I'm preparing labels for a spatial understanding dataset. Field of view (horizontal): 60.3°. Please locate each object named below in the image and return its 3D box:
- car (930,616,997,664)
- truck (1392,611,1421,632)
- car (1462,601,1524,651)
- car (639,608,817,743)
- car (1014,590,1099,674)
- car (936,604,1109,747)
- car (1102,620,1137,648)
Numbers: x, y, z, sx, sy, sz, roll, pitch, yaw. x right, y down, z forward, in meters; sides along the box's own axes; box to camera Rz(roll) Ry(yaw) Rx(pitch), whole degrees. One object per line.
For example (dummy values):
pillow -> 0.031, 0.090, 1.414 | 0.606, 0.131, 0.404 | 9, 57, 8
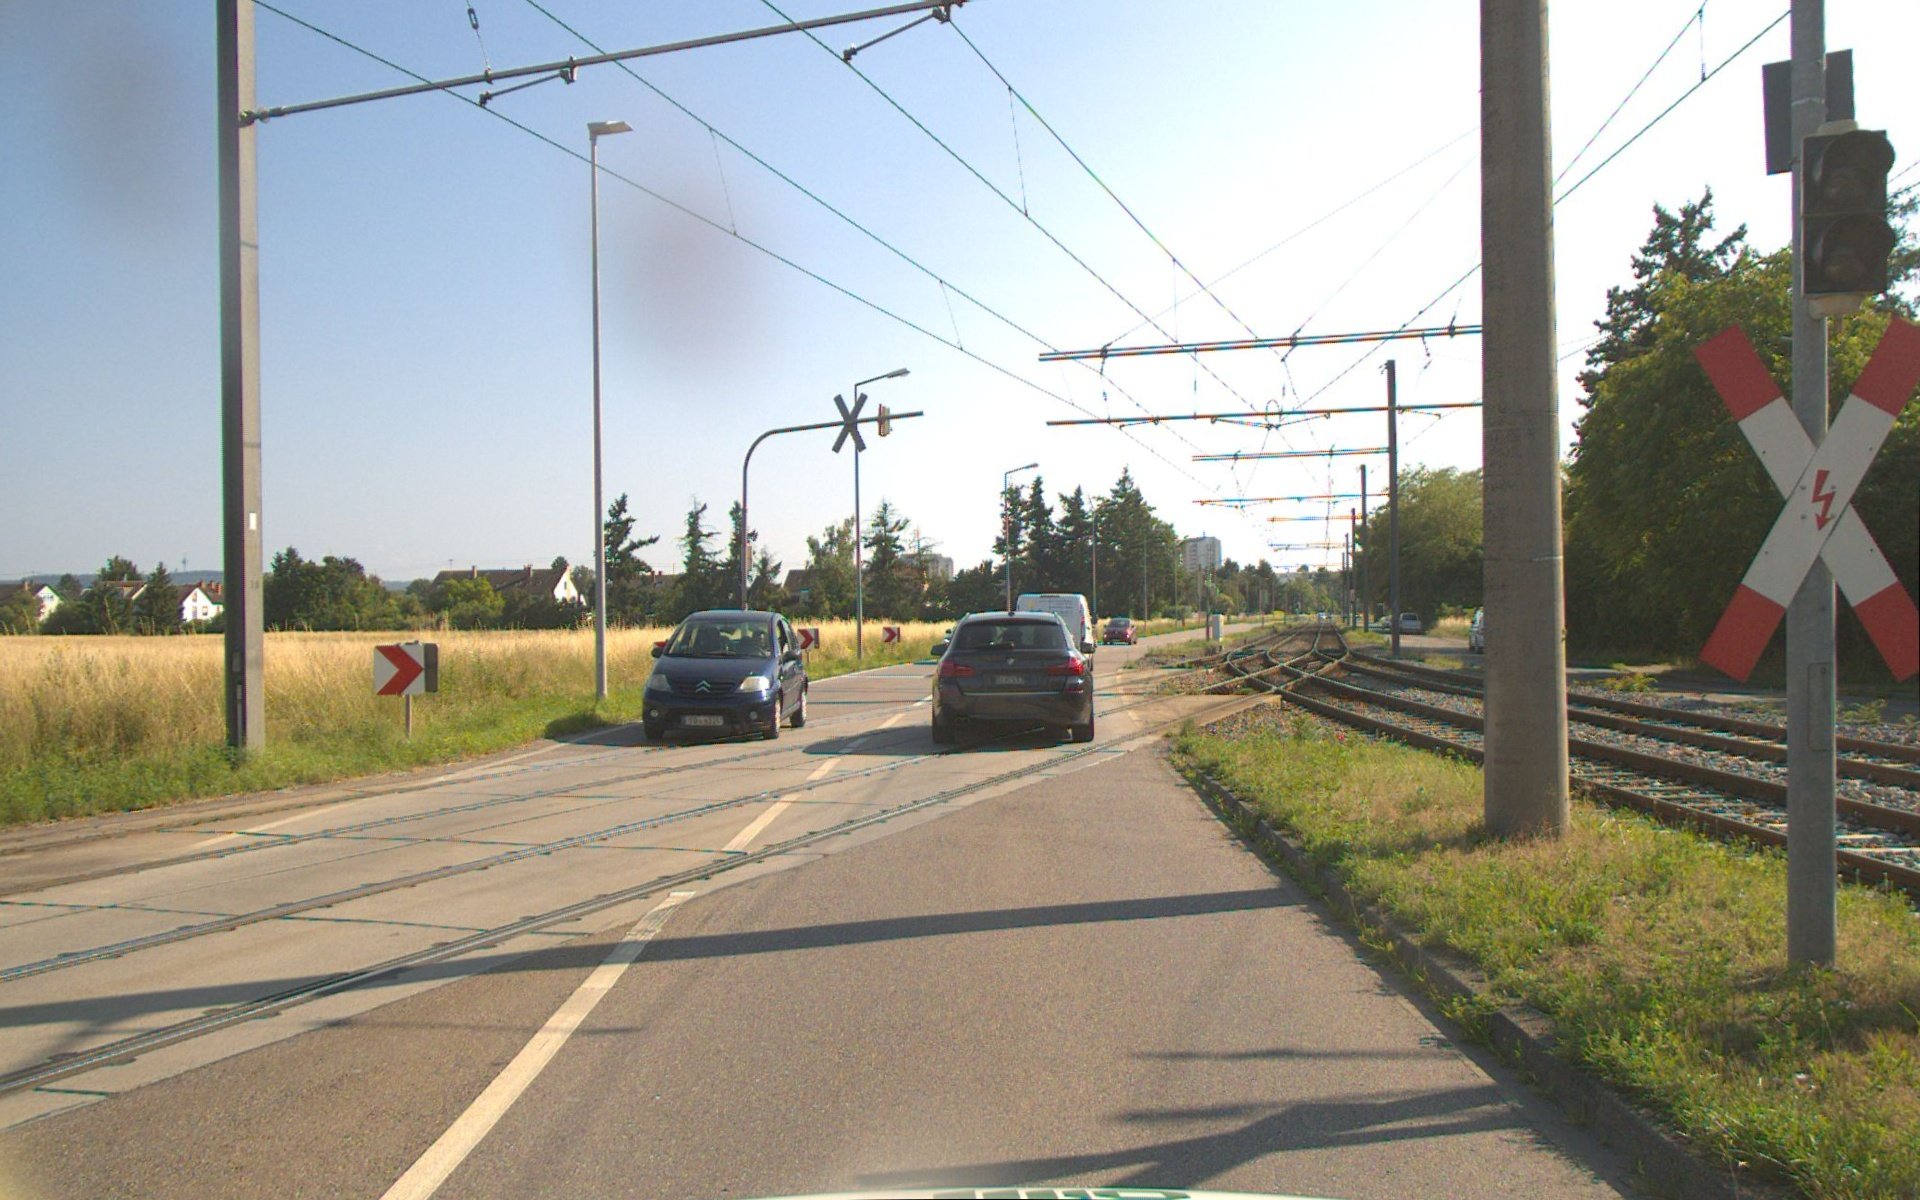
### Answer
car -> 0.148, 1.265, 53.781 | 1.657, 1.465, 4.287 | 0, 0, 7
truck -> 39.428, 1.898, 146.204 | 2.157, 1.851, 5.934 | -1, -1, 12
car -> 23.275, 1.134, 72.377 | 1.951, 2.039, 5.071 | 2, 0, 12
car -> -2.843, 0.895, 21.034 | 1.590, 1.520, 4.000 | -1, -1, 1
car -> 2.549, 0.787, 42.637 | 1.818, 2.023, 5.112 | 0, 0, 8
car -> 0.738, 0.810, 19.955 | 1.830, 1.478, 4.745 | 0, 0, 2
car -> 9.610, 2.029, 99.503 | 1.676, 1.576, 3.931 | 0, 0, 11
